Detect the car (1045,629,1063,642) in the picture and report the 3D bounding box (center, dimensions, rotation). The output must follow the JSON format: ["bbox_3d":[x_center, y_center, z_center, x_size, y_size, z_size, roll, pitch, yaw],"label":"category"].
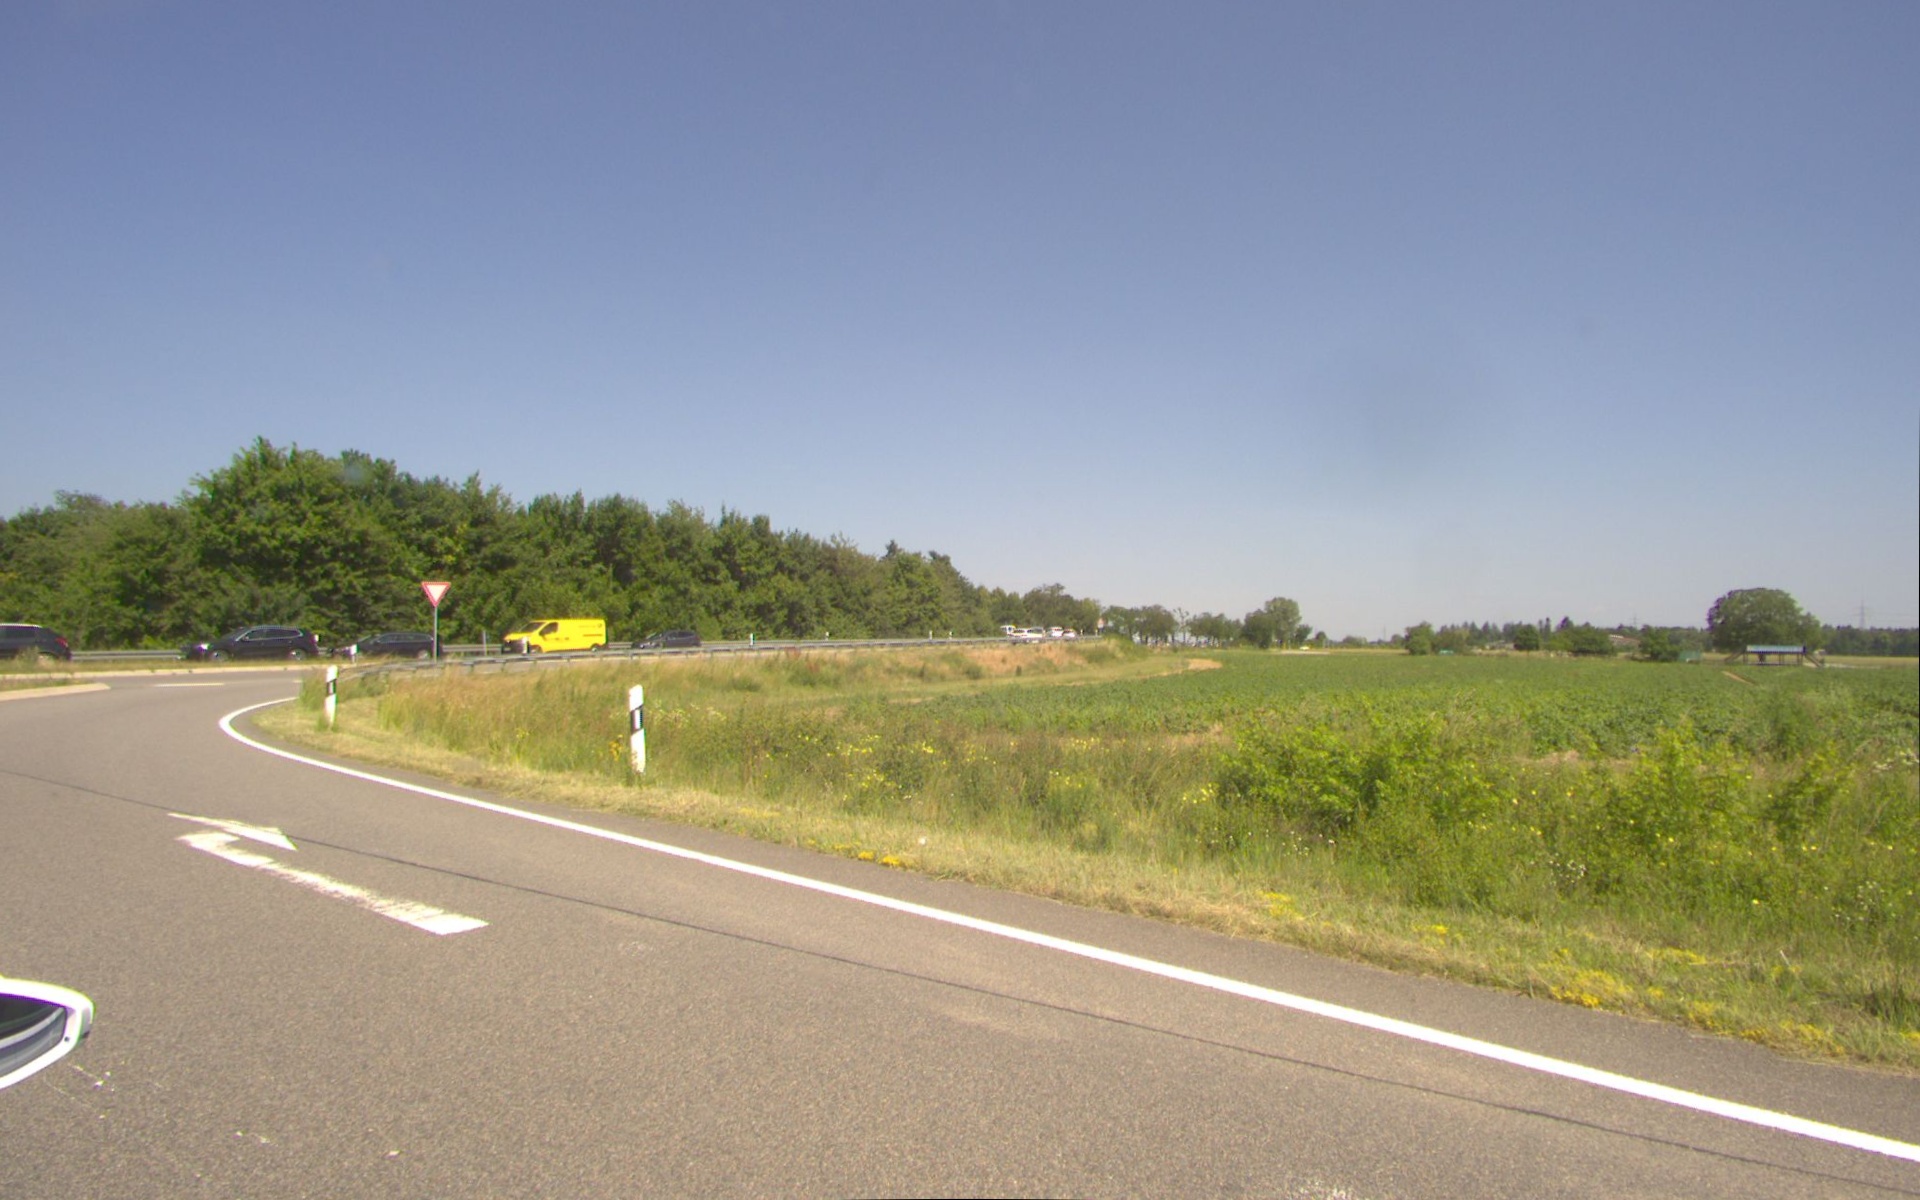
[{"bbox_3d":[11.884,4.541,126.866,1.705,1.587,4.485,0,-2,-3],"label":"car"}]

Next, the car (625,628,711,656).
[{"bbox_3d":[-16.615,2.351,57.154,1.828,1.533,4.671,-1,-2,34],"label":"car"}]

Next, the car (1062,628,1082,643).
[{"bbox_3d":[12.139,3.859,108.277,1.707,1.587,3.691,-1,-2,14],"label":"car"}]

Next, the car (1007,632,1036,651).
[{"bbox_3d":[5.554,3.726,90.073,1.708,1.587,4.477,-1,0,16],"label":"car"}]

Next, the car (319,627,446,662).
[{"bbox_3d":[-26.055,1.980,45.287,1.831,1.533,4.664,-2,-2,39],"label":"car"}]

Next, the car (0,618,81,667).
[{"bbox_3d":[-33.425,1.482,34.858,1.818,1.661,3.972,-1,-2,37],"label":"car"}]

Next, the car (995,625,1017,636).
[{"bbox_3d":[6.460,4.350,141.543,1.688,1.589,3.992,0,-2,-19],"label":"car"}]

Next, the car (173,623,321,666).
[{"bbox_3d":[-28.083,1.723,39.588,1.744,1.618,4.475,-1,-2,34],"label":"car"}]

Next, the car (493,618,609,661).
[{"bbox_3d":[-20.610,1.978,50.727,1.972,2.039,5.311,-1,-2,33],"label":"car"}]
